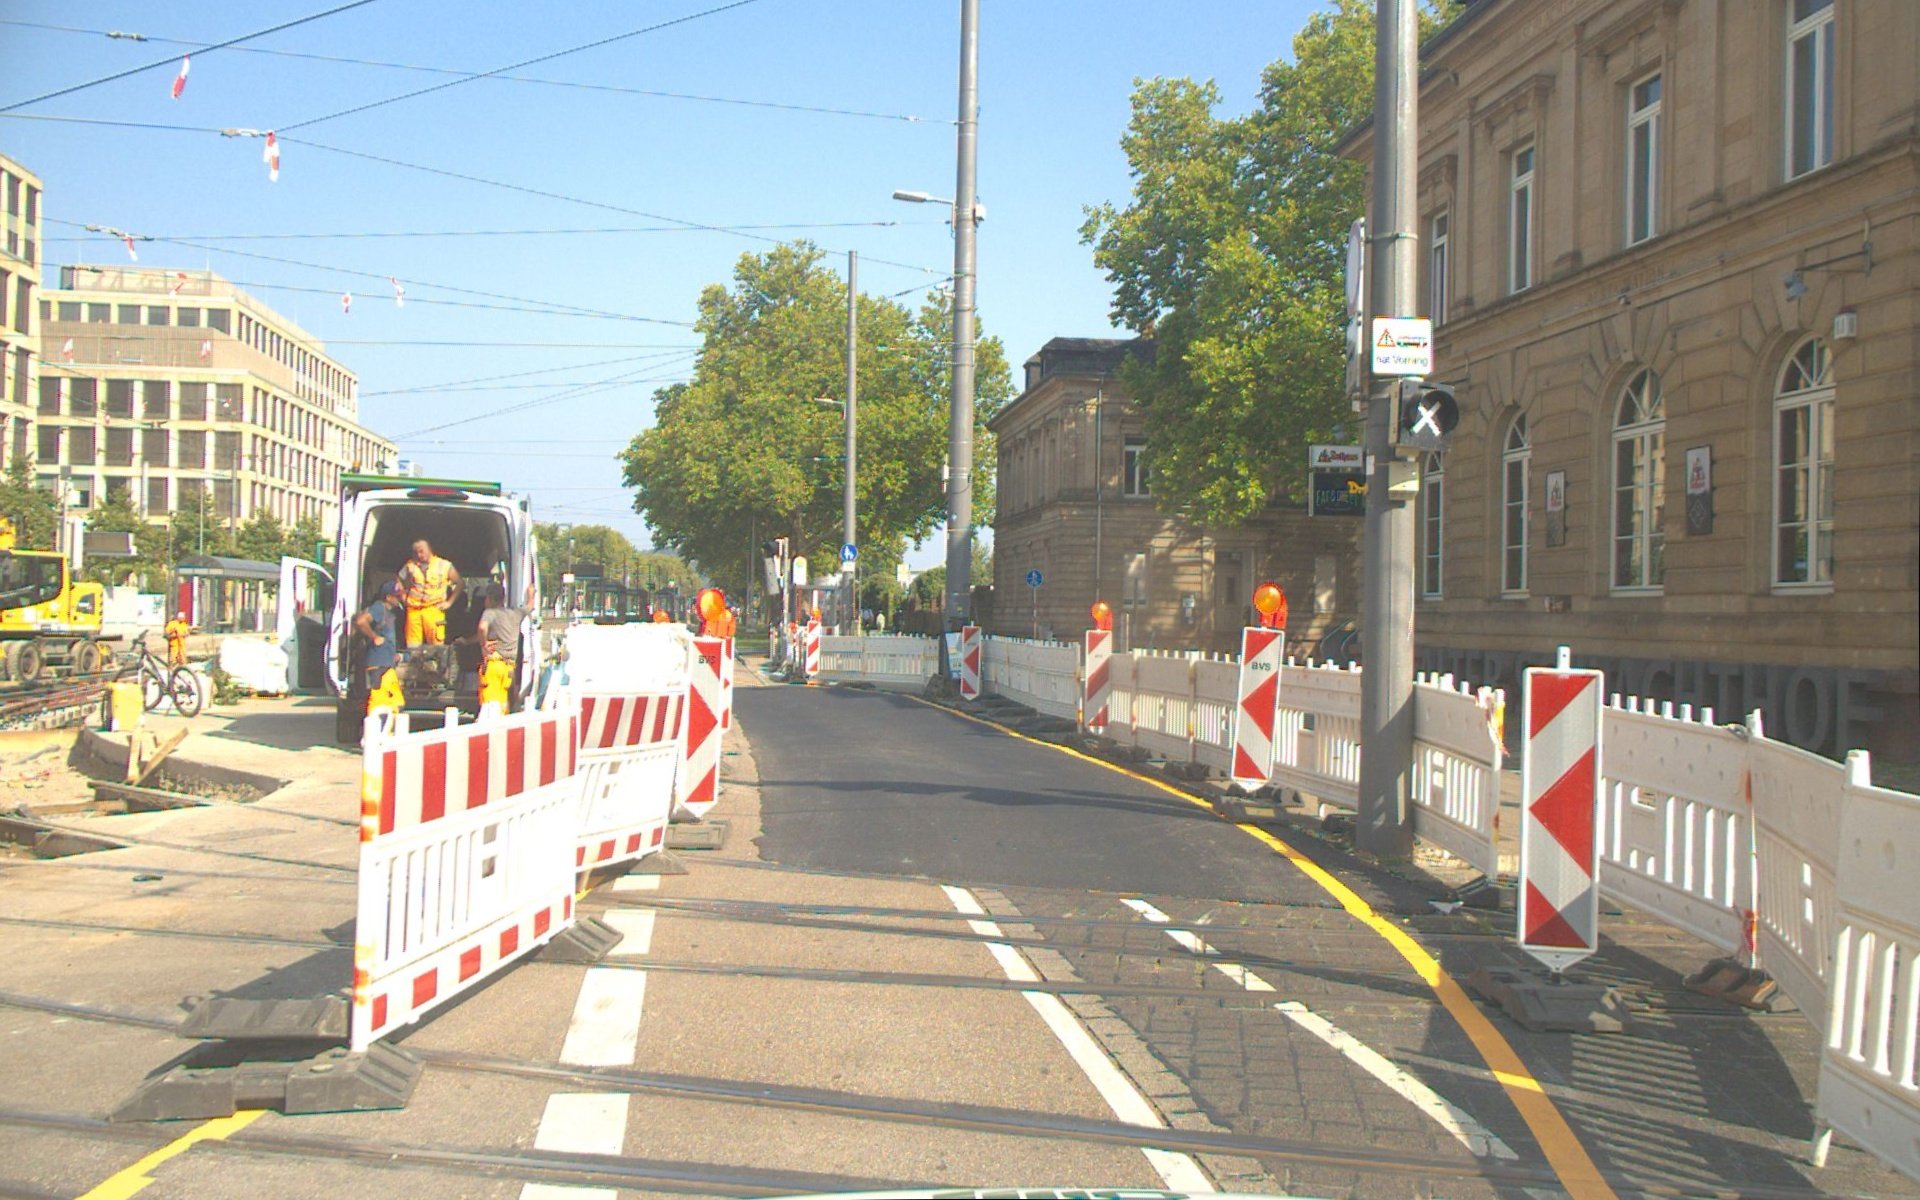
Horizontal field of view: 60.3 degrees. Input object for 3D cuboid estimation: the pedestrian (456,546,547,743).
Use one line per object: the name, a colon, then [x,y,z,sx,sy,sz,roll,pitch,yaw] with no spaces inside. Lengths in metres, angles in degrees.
pedestrian: [-4.895,0.473,17.705,0.719,2.049,0.907,0,-1,-1]

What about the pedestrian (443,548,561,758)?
pedestrian: [-4.617,0.521,16.706,0.719,2.049,0.906,0,-1,25]

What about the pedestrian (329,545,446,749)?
pedestrian: [-5.934,0.480,17.166,0.719,2.049,0.907,0,-1,24]

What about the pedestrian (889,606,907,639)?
pedestrian: [-3.271,1.195,86.863,0.803,1.716,1.010,-1,-1,-8]

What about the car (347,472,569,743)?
car: [-6.060,0.116,19.764,2.191,2.777,5.142,1,-1,-19]

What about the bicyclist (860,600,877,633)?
bicyclist: [-4.451,0.797,80.097,0.704,1.570,0.953,1,-1,-10]

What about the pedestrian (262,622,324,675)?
pedestrian: [-17.325,1.244,42.963,1.284,1.329,0.799,0,-1,16]

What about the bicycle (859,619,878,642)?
bicycle: [-4.446,1.477,80.013,0.704,1.060,1.898,1,0,-10]

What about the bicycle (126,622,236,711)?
bicycle: [-10.586,0.882,22.449,1.628,1.156,0.615,0,-1,35]

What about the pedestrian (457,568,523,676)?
pedestrian: [-7.636,0.356,26.890,0.691,1.723,0.764,0,-1,28]

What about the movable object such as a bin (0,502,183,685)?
movable object such as a bin: [-22.689,-0.146,38.265,3.429,4.083,9.047,0,0,16]

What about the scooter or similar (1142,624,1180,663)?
scooter or similar: [6.543,1.413,53.776,1.239,1.231,0.418,-1,1,-33]

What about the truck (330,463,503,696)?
truck: [-9.971,-0.303,30.861,2.631,3.743,8.176,1,0,-16]

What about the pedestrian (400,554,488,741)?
pedestrian: [-5.799,0.525,18.625,0.719,2.049,0.907,0,-1,-2]

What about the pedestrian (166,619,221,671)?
pedestrian: [-20.114,1.177,43.413,0.995,1.329,0.982,0,0,-4]
